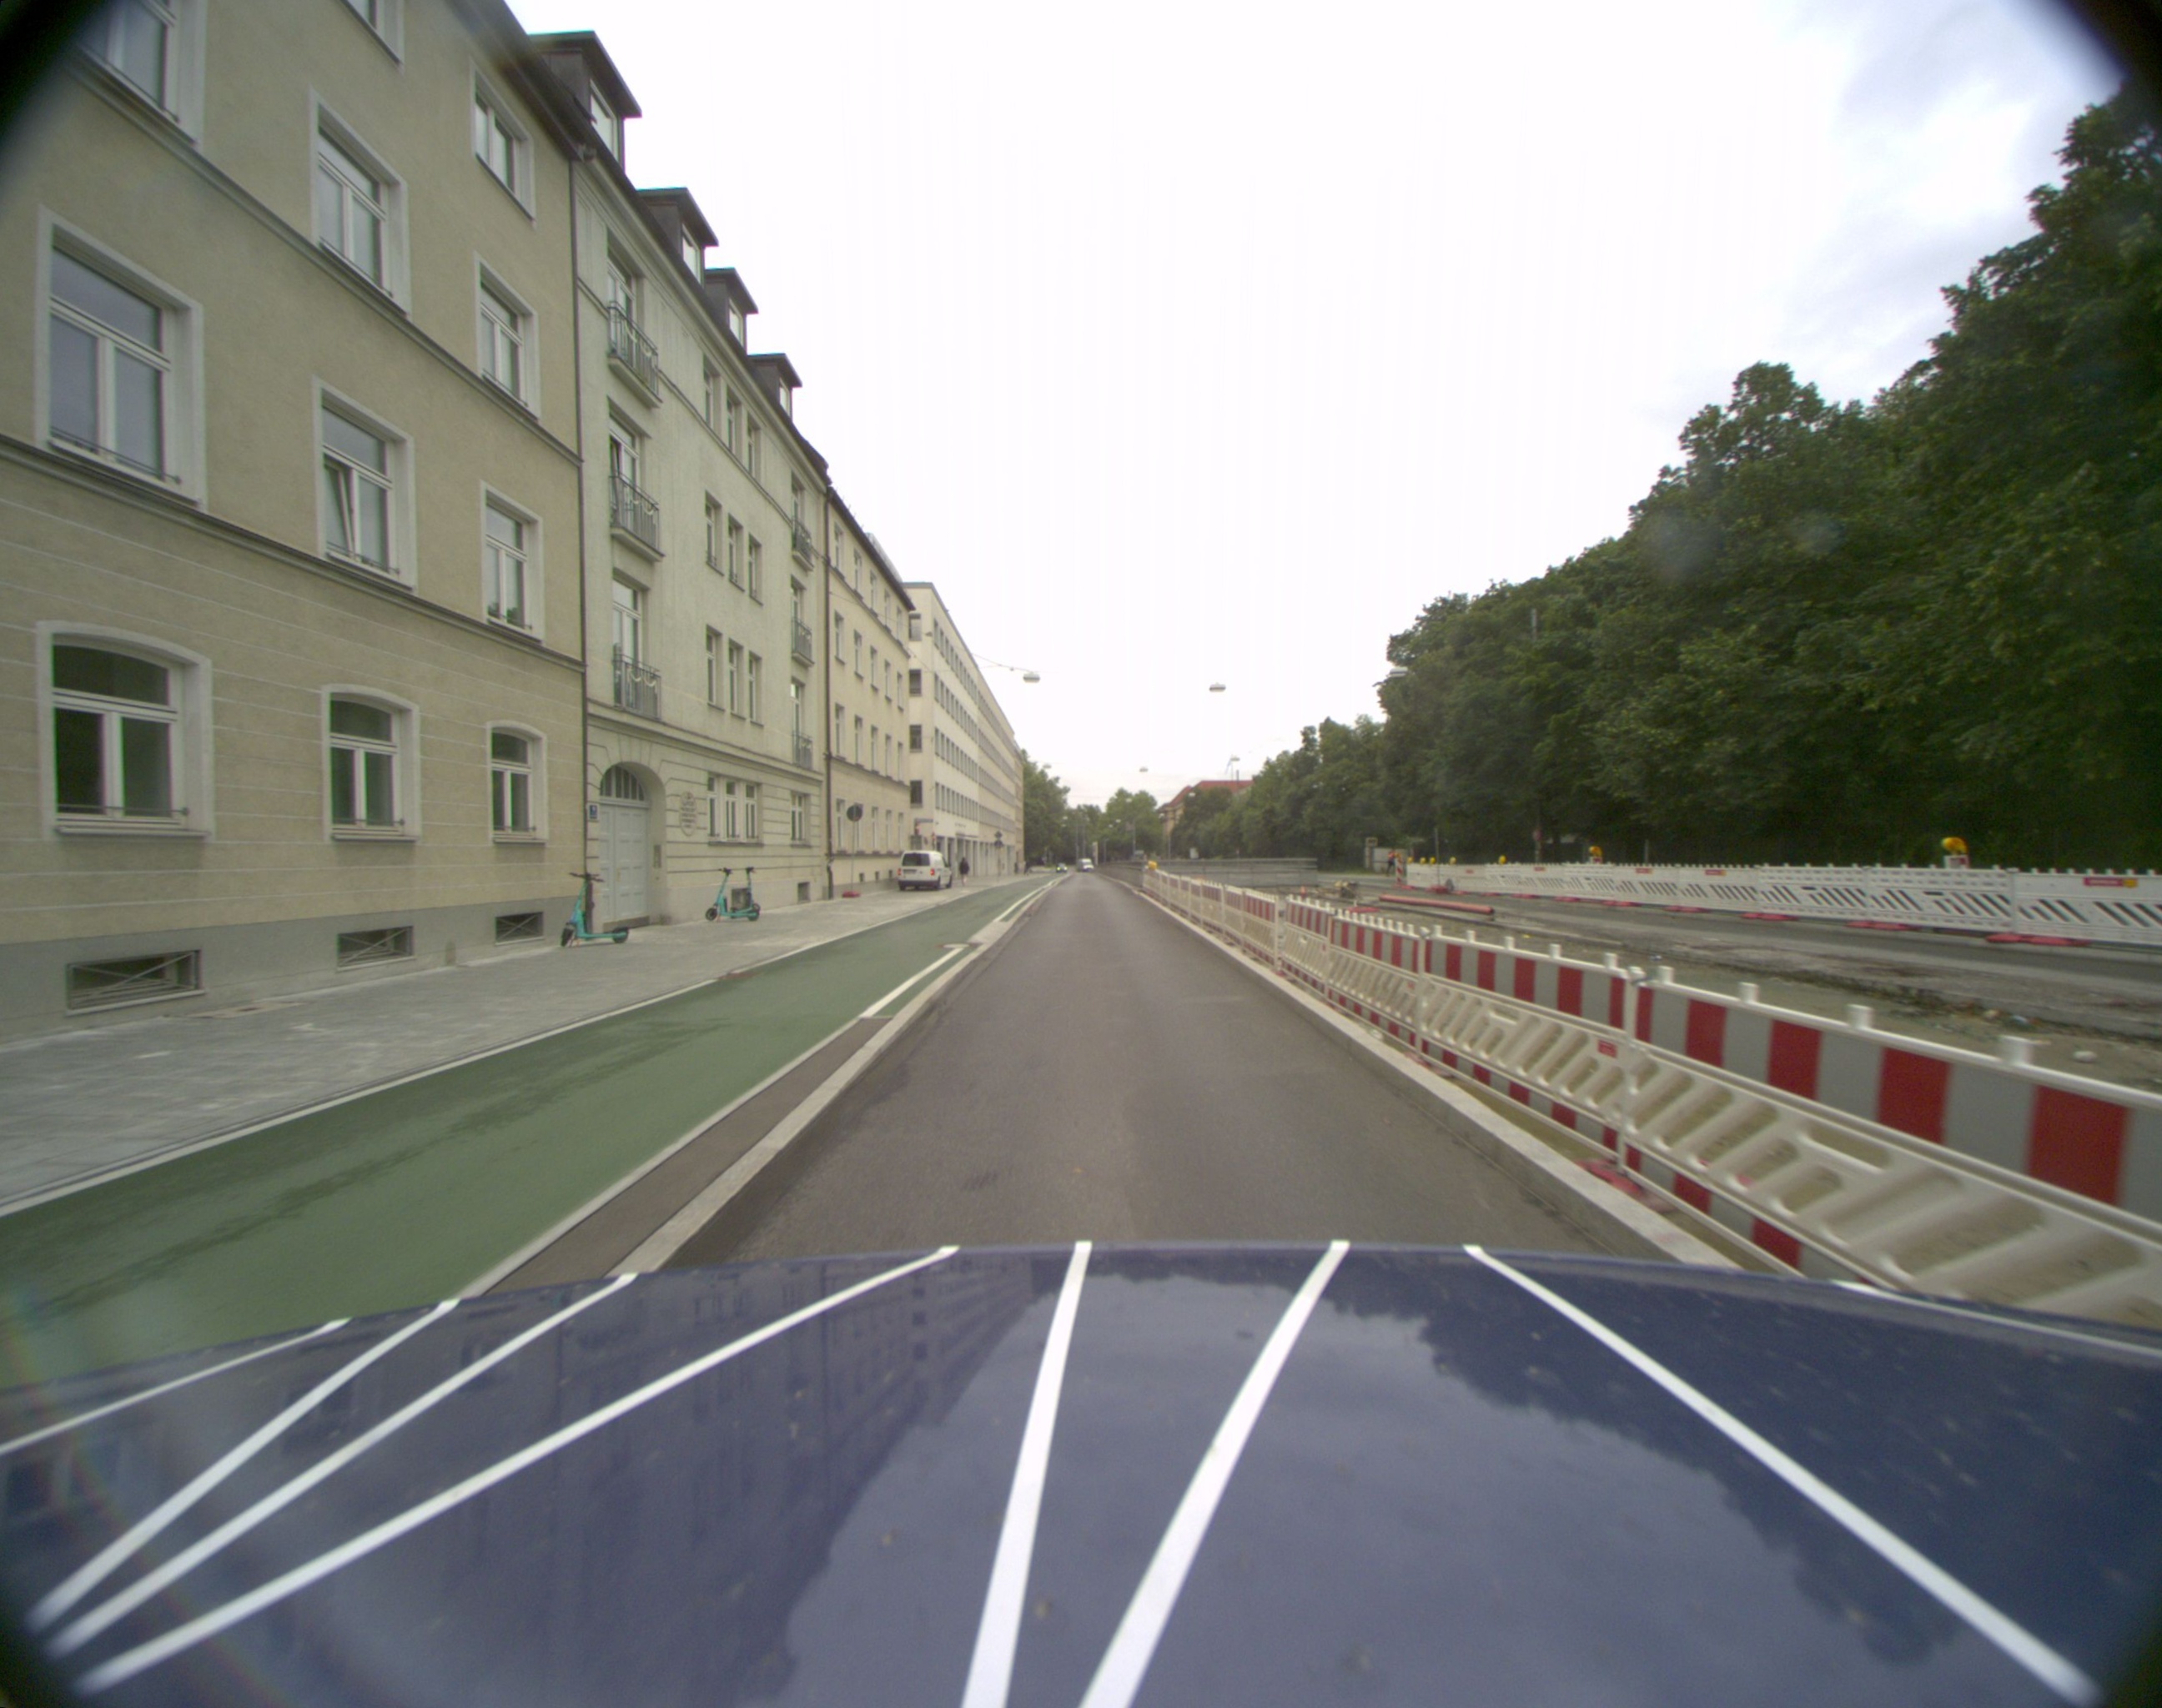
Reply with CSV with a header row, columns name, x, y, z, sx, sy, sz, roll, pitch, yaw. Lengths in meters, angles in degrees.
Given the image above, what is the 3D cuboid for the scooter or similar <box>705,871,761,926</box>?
name,x,y,z,sx,sy,sz,roll,pitch,yaw
scooter or similar,-8.016,1.020,17.516,1.121,1.224,0.246,0,1,-33

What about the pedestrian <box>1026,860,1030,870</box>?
name,x,y,z,sx,sy,sz,roll,pitch,yaw
pedestrian,-6.395,1.354,91.740,0.368,1.239,0.470,3,0,0

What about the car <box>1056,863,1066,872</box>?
name,x,y,z,sx,sy,sz,roll,pitch,yaw
car,-4.095,2.697,156.546,1.999,1.738,3.999,-2,0,-1

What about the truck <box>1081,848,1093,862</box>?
name,x,y,z,sx,sy,sz,roll,pitch,yaw
truck,1.110,0.104,146.263,2.058,2.625,4.412,-1,0,-1

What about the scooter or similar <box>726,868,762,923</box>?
name,x,y,z,sx,sy,sz,roll,pitch,yaw
scooter or similar,-8.279,0.998,18.706,0.387,1.265,1.119,1,1,0

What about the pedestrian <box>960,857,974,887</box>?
name,x,y,z,sx,sy,sz,roll,pitch,yaw
pedestrian,-6.273,0.998,41.839,0.666,1.626,0.737,0,0,0

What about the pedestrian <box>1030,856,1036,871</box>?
name,x,y,z,sx,sy,sz,roll,pitch,yaw
pedestrian,-5.808,1.120,91.705,0.514,1.825,0.602,3,0,0

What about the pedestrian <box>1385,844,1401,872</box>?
name,x,y,z,sx,sy,sz,roll,pitch,yaw
pedestrian,18.770,0.223,45.697,0.665,1.631,0.698,-1,0,1

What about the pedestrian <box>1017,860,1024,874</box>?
name,x,y,z,sx,sy,sz,roll,pitch,yaw
pedestrian,-7.456,1.587,93.423,0.754,1.610,0.704,3,0,0

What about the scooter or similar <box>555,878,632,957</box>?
name,x,y,z,sx,sy,sz,roll,pitch,yaw
scooter or similar,-8.141,1.028,12.722,0.246,1.224,1.121,2,1,26

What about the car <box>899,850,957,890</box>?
name,x,y,z,sx,sy,sz,roll,pitch,yaw
car,-7.046,0.705,35.392,1.738,1.739,4.435,0,0,0
